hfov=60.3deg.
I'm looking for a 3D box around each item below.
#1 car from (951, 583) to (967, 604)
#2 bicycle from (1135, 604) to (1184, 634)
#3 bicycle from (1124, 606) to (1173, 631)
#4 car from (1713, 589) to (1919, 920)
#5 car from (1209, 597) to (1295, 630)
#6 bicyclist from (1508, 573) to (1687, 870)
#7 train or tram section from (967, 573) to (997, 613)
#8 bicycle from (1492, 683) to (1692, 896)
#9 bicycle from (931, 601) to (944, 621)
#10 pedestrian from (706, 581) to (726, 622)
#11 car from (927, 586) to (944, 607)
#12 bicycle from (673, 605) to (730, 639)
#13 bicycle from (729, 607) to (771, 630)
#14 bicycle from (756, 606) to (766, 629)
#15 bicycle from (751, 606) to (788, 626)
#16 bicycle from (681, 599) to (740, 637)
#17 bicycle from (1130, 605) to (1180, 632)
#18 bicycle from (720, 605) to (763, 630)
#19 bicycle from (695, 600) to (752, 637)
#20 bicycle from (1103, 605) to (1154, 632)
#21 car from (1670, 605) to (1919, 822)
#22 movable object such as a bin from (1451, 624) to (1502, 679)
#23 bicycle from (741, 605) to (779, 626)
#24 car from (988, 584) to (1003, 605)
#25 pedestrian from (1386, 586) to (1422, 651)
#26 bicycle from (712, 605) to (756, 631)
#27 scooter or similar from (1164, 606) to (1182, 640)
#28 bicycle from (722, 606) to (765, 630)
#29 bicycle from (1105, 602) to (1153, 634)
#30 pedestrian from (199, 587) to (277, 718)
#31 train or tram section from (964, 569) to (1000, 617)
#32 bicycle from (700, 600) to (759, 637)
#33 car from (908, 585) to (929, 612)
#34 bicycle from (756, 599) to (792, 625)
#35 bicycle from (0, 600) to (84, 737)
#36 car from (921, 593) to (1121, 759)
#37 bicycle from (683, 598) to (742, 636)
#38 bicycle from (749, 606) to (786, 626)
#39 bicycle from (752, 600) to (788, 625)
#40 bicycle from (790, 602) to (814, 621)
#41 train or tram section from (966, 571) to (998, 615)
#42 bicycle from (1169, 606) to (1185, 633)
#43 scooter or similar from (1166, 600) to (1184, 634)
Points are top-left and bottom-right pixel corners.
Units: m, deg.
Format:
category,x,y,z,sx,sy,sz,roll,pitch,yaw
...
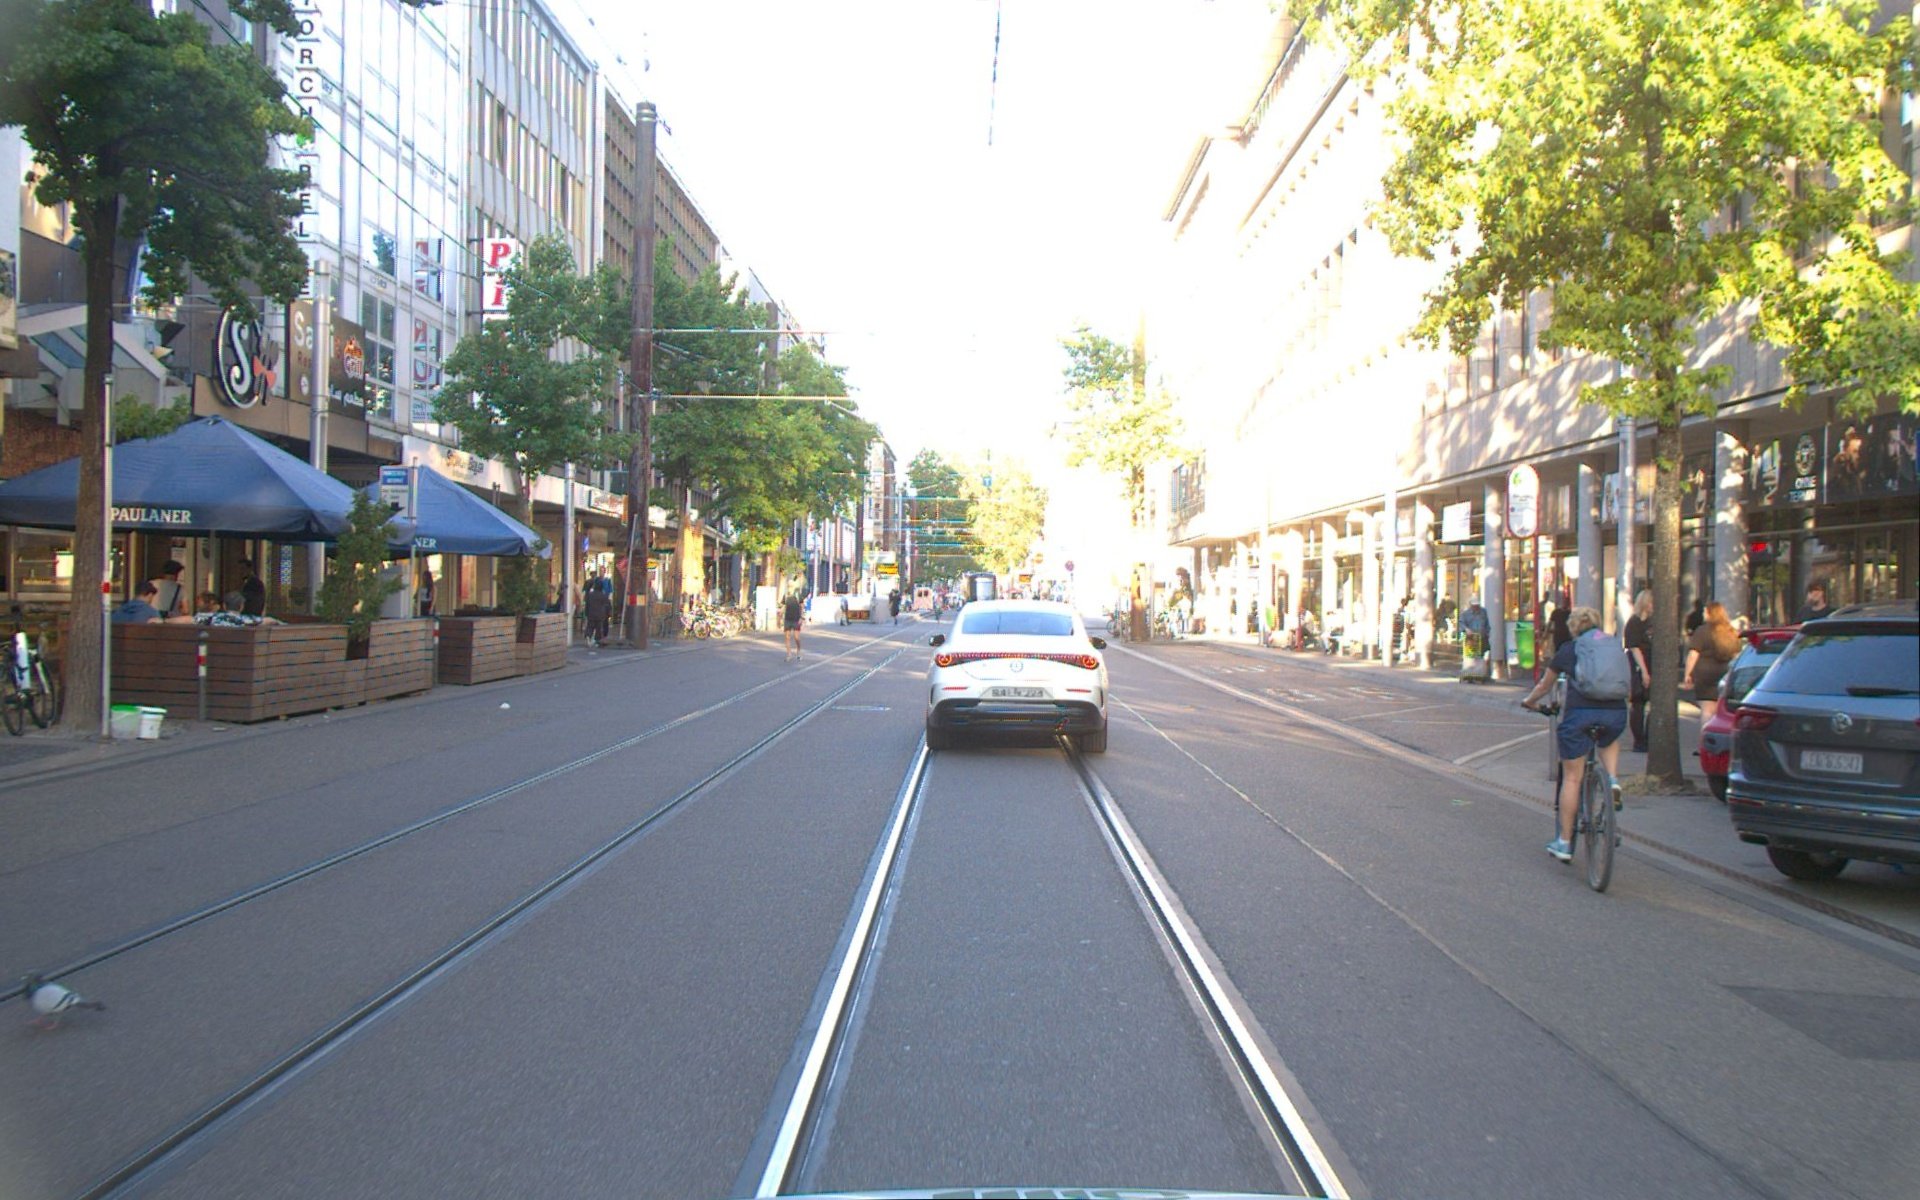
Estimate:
category,x,y,z,sx,sy,sz,roll,pitch,yaw
car,-0.121,-0.889,230.900,2.056,2.948,5.275,0,0,1
bicycle,8.224,0.785,68.131,1.874,1.177,0.608,-1,0,-11
bicycle,8.368,0.823,73.454,2.075,1.115,0.608,0,0,-11
car,6.638,0.764,9.957,4.298,1.681,1.677,-2,0,-31
car,13.758,0.628,78.056,3.727,1.499,1.648,0,0,-5
bicyclist,3.765,0.683,9.845,0.761,1.641,0.913,3,0,10
train or tram section,2.069,-0.614,153.966,2.639,3.578,11.144,0,0,1
bicycle,3.785,1.085,10.072,0.703,1.012,2.060,3,0,10
bicycle,-1.377,0.693,102.230,0.783,1.162,2.257,2,0,-1
pedestrian,-10.803,0.051,73.303,0.775,1.797,0.533,1,0,-24
car,-2.913,-0.443,198.877,1.870,2.504,5.275,0,0,1
bicycle,-7.574,0.638,48.450,1.561,0.947,0.377,2,0,7
bicycle,-7.694,0.666,60.671,1.462,0.797,0.345,2,0,2
bicycle,-7.421,0.652,61.646,0.337,0.797,1.403,2,0,-7
bicycle,-7.980,0.664,69.392,1.462,0.797,0.345,2,0,2
bicycle,-7.735,0.561,51.289,1.753,1.096,0.377,2,0,-4
bicycle,8.408,0.795,71.255,2.076,1.115,0.608,0,0,-12
bicycle,-7.829,0.630,59.314,1.462,0.855,0.345,2,0,2
bicycle,-7.937,0.608,55.552,1.808,1.160,0.377,2,0,2
bicycle,7.328,0.810,71.934,2.075,1.115,0.608,1,-1,-11
car,7.691,0.820,13.377,3.336,1.507,1.658,-2,0,-19
movable object such as a bin,9.289,0.923,29.783,0.675,0.940,0.718,2,0,1
bicycle,-8.174,0.648,67.587,1.462,0.797,0.345,2,0,2
car,4.974,-0.789,231.165,2.056,2.948,5.285,0,0,1
pedestrian,12.011,0.489,44.777,0.729,1.730,0.858,1,0,1
bicycle,-7.970,0.622,58.289,1.462,0.855,0.345,2,0,2
scooter or similar,8.246,0.901,64.088,0.518,1.299,0.658,-1,0,-10
bicycle,-7.847,0.660,60.020,1.462,0.797,0.345,2,0,2
bicycle,7.053,0.748,68.952,1.874,1.303,0.608,-1,0,-11
pedestrian,-7.800,0.559,17.887,0.538,1.380,0.582,2,0,0
train or tram section,1.729,-0.554,129.572,2.639,3.578,12.546,0,0,1
bicycle,-7.365,0.585,52.960,1.810,1.096,0.377,2,0,-4
car,-4.508,-0.183,180.104,1.952,2.948,5.275,0,0,1
bicycle,-7.954,0.527,70.789,1.465,1.047,0.344,2,0,-10
bicycle,-9.013,0.616,15.783,0.686,1.140,2.077,3,1,-17
car,0.588,0.698,17.417,1.819,1.481,4.175,2,0,1
bicycle,-7.738,0.530,51.739,1.753,1.096,0.377,2,0,-4
bicycle,-8.018,0.670,69.023,1.462,0.797,0.345,2,0,2
bicycle,-8.091,0.529,70.352,1.465,1.027,0.344,2,0,-10
bicycle,-8.784,0.634,91.996,0.703,1.027,2.041,1,0,14
train or tram section,1.908,-0.588,142.125,2.639,3.578,12.546,0,0,1
bicycle,9.515,0.865,72.620,0.553,1.147,1.930,-1,0,4
scooter or similar,8.224,0.641,63.335,0.482,1.299,0.658,-1,0,-10
